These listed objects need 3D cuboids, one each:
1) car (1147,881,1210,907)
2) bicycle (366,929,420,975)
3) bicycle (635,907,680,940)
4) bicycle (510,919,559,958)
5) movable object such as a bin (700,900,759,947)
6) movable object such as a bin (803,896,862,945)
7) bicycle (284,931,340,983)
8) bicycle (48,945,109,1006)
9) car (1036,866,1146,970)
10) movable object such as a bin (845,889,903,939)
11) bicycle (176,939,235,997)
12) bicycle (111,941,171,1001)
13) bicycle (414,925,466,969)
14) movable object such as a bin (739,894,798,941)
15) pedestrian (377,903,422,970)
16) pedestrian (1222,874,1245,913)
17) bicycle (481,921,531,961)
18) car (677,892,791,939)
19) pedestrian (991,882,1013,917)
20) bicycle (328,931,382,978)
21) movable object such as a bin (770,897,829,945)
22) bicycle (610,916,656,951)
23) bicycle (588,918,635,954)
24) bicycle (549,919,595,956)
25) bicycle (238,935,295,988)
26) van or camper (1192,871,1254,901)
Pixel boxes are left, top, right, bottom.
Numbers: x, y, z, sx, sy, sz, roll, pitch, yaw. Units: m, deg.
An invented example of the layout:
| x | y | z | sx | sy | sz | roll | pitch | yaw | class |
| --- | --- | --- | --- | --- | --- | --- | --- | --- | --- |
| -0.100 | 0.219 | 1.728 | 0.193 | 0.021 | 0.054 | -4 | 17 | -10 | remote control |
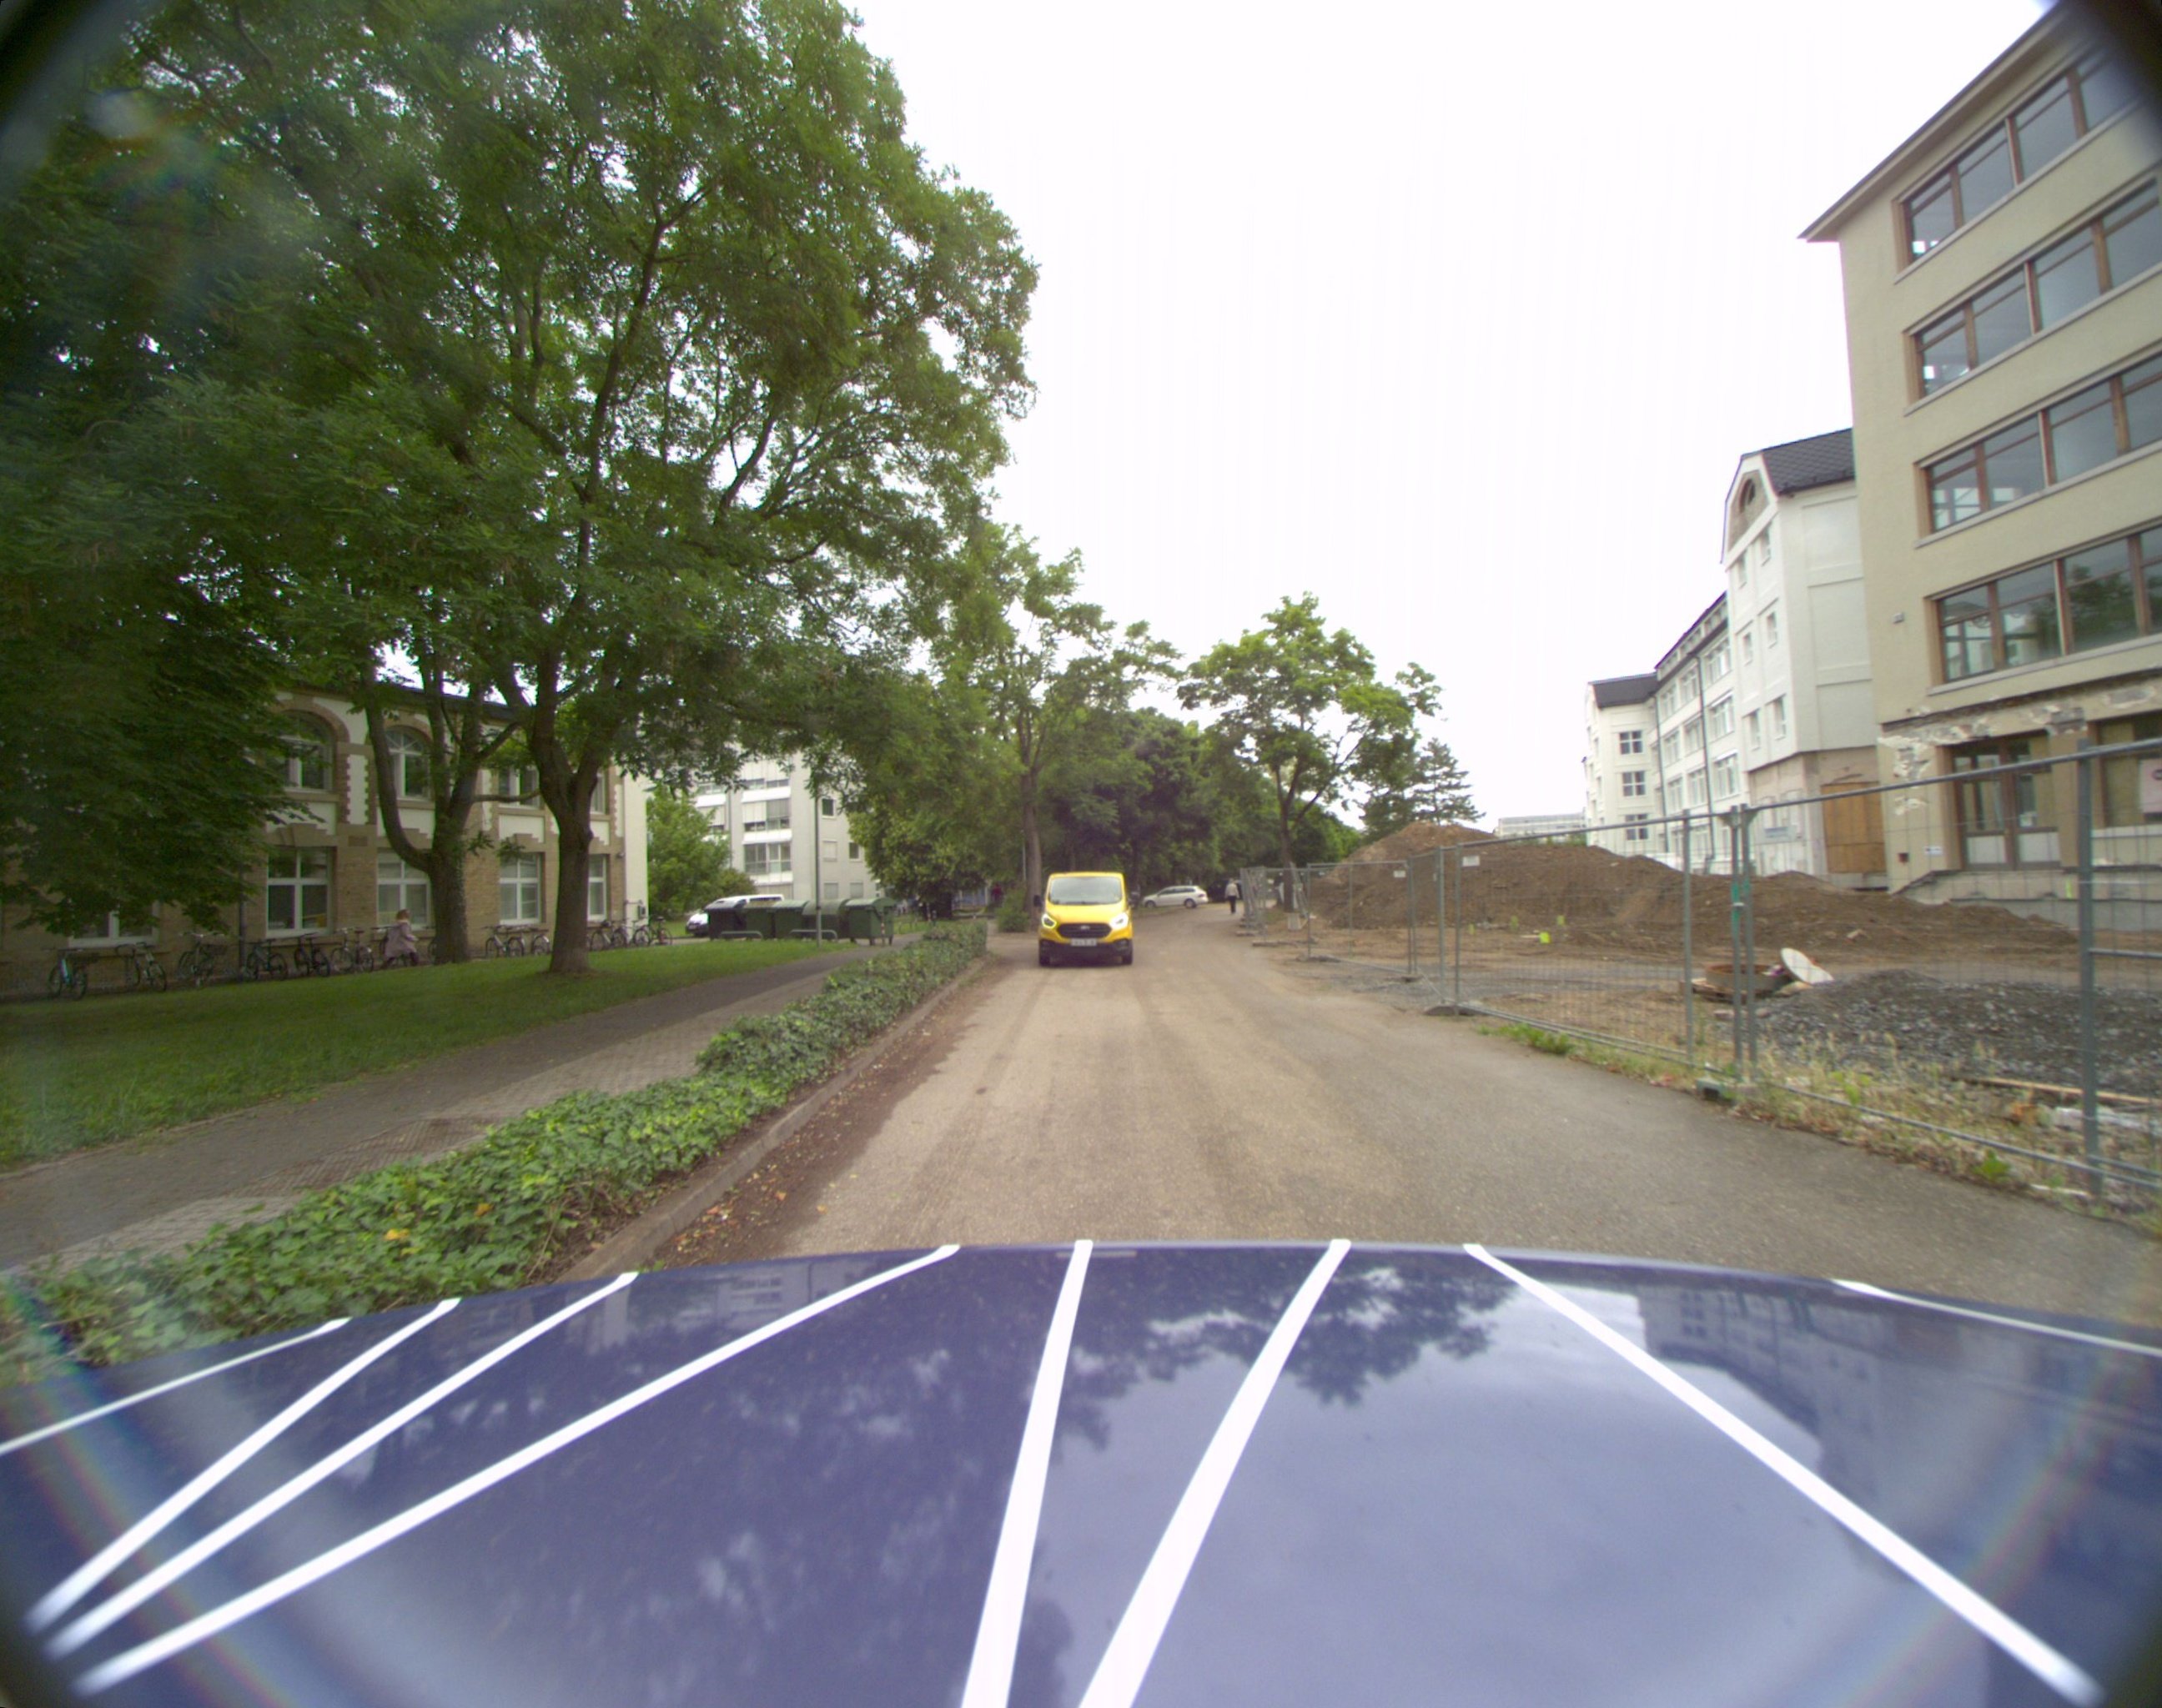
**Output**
| x | y | z | sx | sy | sz | roll | pitch | yaw | class |
| --- | --- | --- | --- | --- | --- | --- | --- | --- | --- |
| 6.525 | 2.643 | 50.534 | 3.879 | 1.565 | 1.754 | -3 | -2 | 14 | car |
| -17.756 | 2.516 | 19.590 | 1.740 | 1.107 | 0.461 | -3 | -2 | 28 | bicycle |
| -14.629 | 2.410 | 26.246 | 1.740 | 1.107 | 0.461 | -3 | -2 | 27 | bicycle |
| -16.319 | 2.518 | 22.677 | 1.740 | 1.107 | 0.461 | -3 | -2 | 28 | bicycle |
| -11.756 | 2.319 | 25.437 | 1.360 | 1.441 | 1.111 | -3 | -2 | 21 | movable object such as a bin |
| -7.681 | 2.053 | 23.480 | 1.283 | 1.441 | 1.111 | -3 | -2 | 27 | movable object such as a bin |
| -18.462 | 2.452 | 18.225 | 1.740 | 1.108 | 0.461 | -1 | -1 | 28 | bicycle |
| -19.857 | 2.377 | 15.049 | 1.740 | 1.107 | 0.461 | -3 | -2 | 28 | bicycle |
| 0.153 | 1.350 | 17.088 | 2.124 | 2.001 | 4.001 | -2 | -2 | -1 | car |
| -6.248 | 1.791 | 22.950 | 1.272 | 1.425 | 1.074 | -3 | -2 | 35 | movable object such as a bin |
| -19.143 | 2.471 | 16.611 | 1.740 | 1.108 | 0.461 | 0 | -1 | 28 | bicycle |
| -19.622 | 2.417 | 15.858 | 1.740 | 1.108 | 0.461 | -1 | -1 | 28 | bicycle |
| -17.392 | 2.503 | 20.615 | 1.740 | 1.107 | 0.461 | -3 | -2 | 28 | bicycle |
| -10.239 | 2.088 | 24.929 | 1.324 | 1.441 | 1.111 | -3 | -2 | 22 | movable object such as a bin |
| -16.713 | 2.018 | 18.628 | 0.603 | 1.577 | 0.629 | -3 | -2 | 27 | pedestrian |
| 7.143 | 1.836 | 35.657 | 0.752 | 1.770 | 0.662 | -2 | -2 | -24 | pedestrian |
| -16.698 | 2.519 | 22.059 | 1.740 | 1.107 | 0.461 | -3 | -2 | 28 | bicycle |
| -16.614 | 2.923 | 36.650 | 1.897 | 1.861 | 4.783 | -6 | -3 | 28 | car |
| -4.821 | 2.738 | 46.192 | 0.793 | 2.051 | 1.203 | -3 | -2 | 22 | pedestrian |
| -18.077 | 2.488 | 18.911 | 1.740 | 1.107 | 0.461 | -3 | -2 | 28 | bicycle |
| -8.976 | 2.120 | 24.266 | 1.292 | 1.441 | 1.111 | -3 | -2 | 22 | movable object such as a bin |
| -15.033 | 2.661 | 25.474 | 1.740 | 1.107 | 0.461 | -3 | -2 | 28 | bicycle |
| -15.351 | 2.674 | 24.820 | 1.740 | 1.107 | 0.461 | -3 | -2 | 28 | bicycle |
| -15.919 | 2.613 | 23.753 | 1.740 | 1.107 | 0.462 | -4 | -2 | 30 | bicycle |
| -18.781 | 2.460 | 17.515 | 1.740 | 1.108 | 0.461 | -2 | -2 | 28 | bicycle |
| 11.611 | 2.619 | 62.230 | 4.490 | 2.244 | 2.004 | -3 | -2 | 27 | van or camper |
